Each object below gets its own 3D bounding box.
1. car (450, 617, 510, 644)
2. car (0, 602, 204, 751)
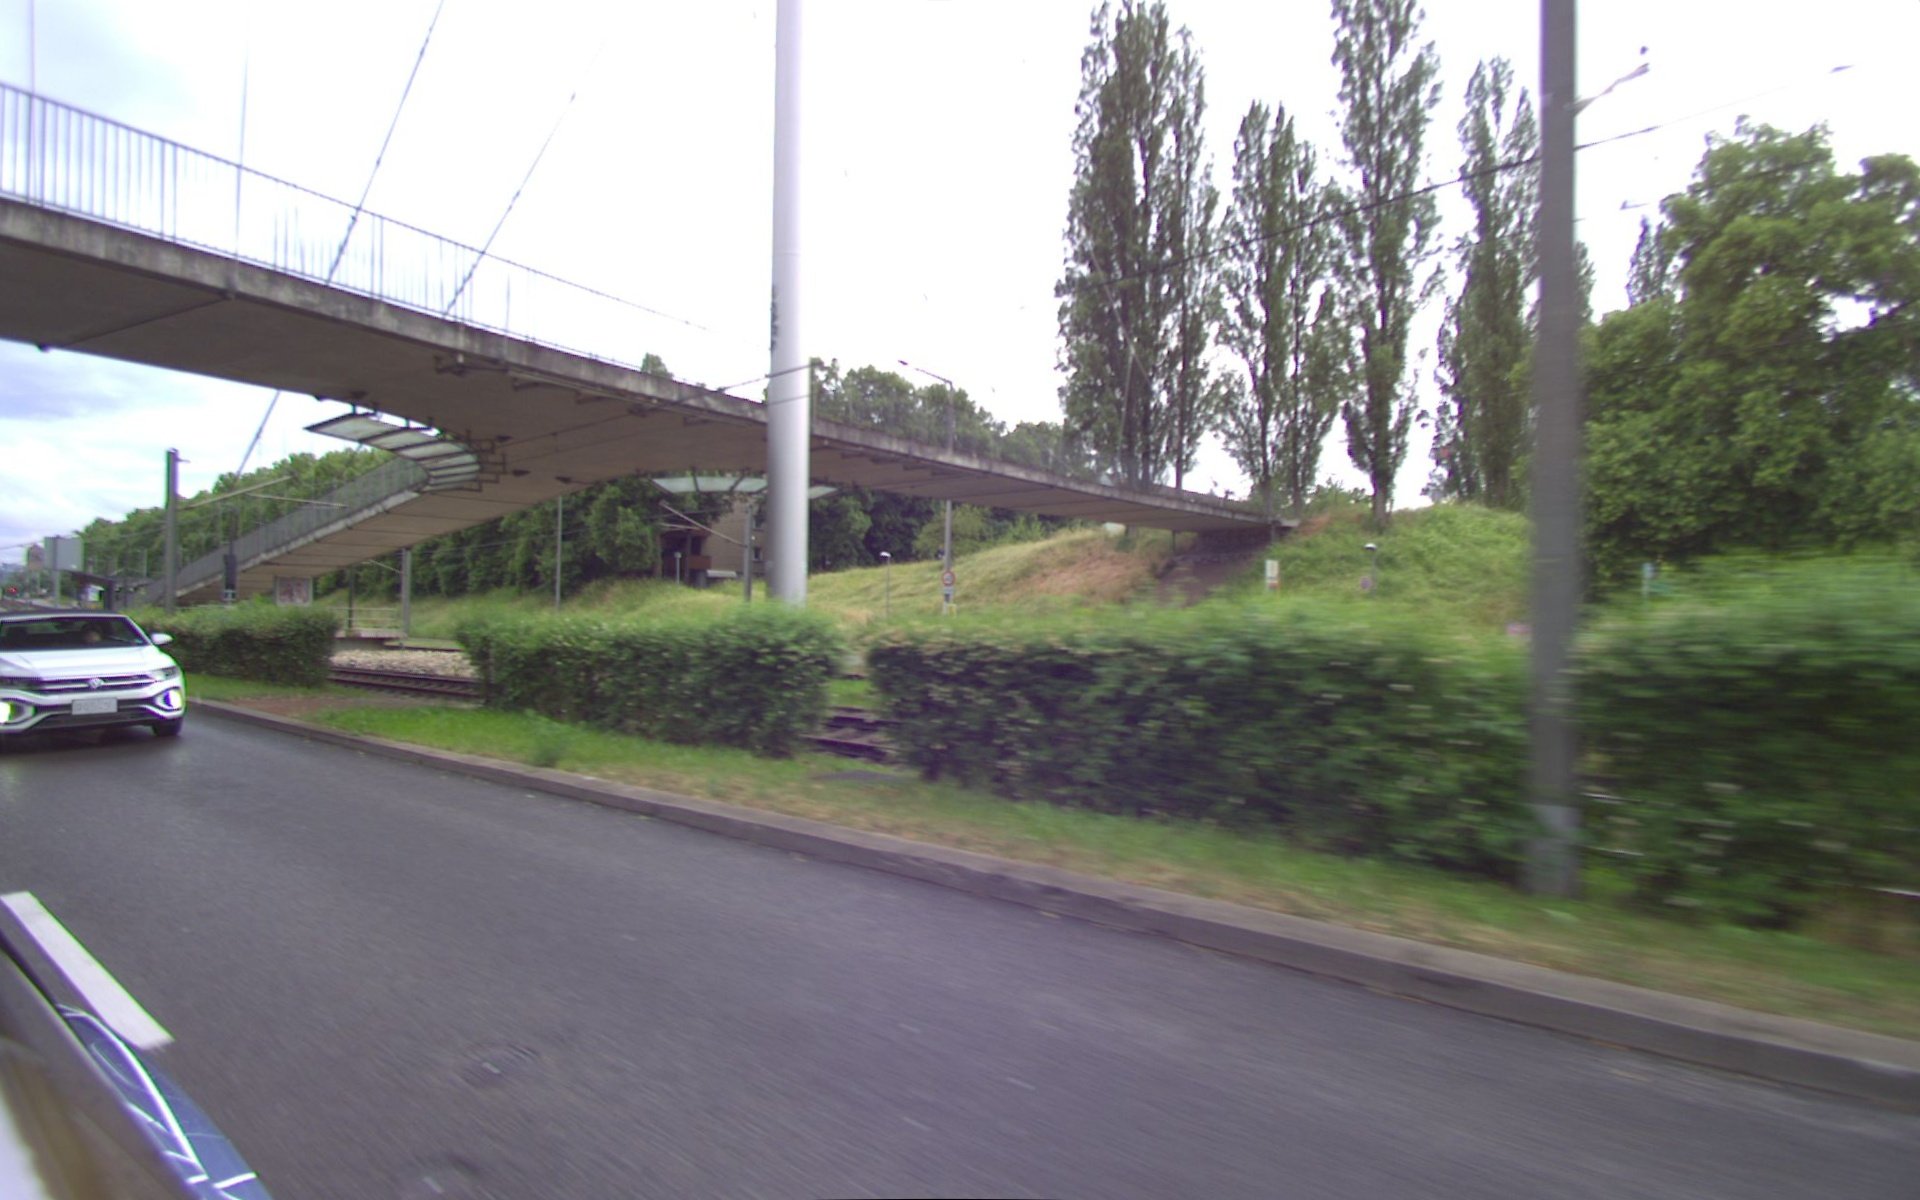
[{"bbox_3d":[-30.158,1.901,63.590,4.206,1.601,1.972,-1,-2,43],"label":"car"},{"bbox_3d":[-10.987,0.785,12.332,4.698,1.476,1.935,0,1,42],"label":"car"}]
